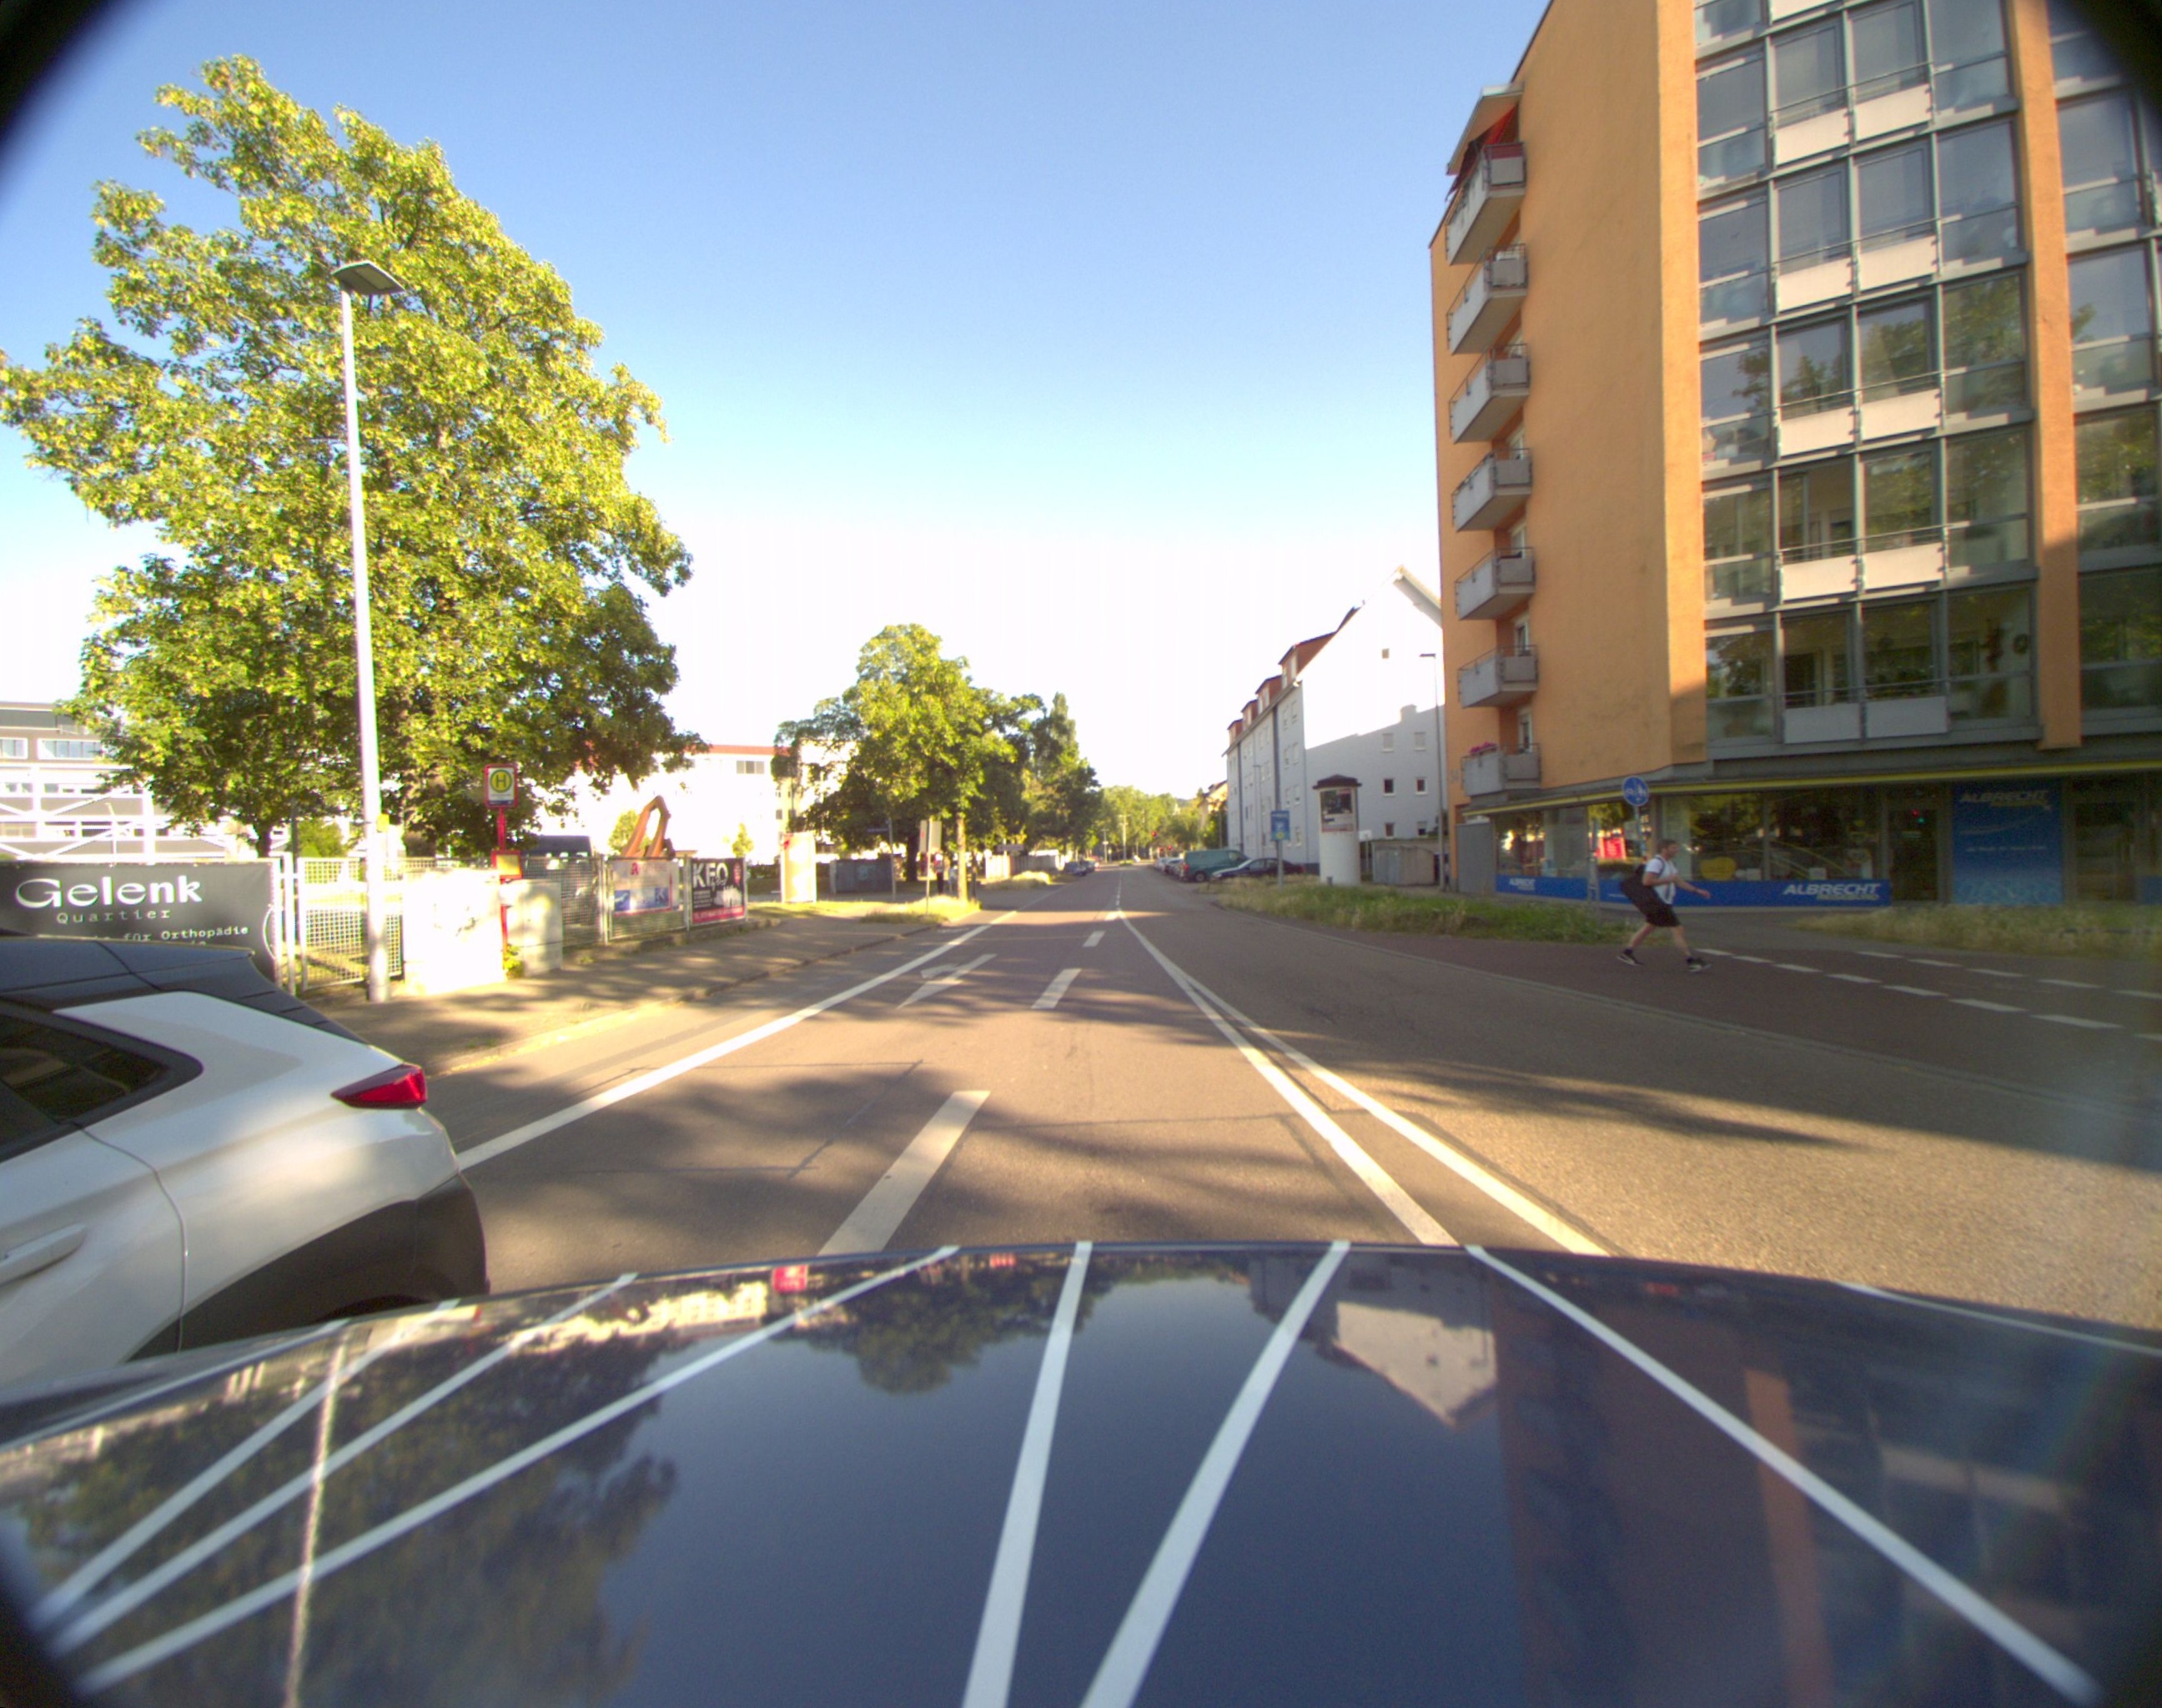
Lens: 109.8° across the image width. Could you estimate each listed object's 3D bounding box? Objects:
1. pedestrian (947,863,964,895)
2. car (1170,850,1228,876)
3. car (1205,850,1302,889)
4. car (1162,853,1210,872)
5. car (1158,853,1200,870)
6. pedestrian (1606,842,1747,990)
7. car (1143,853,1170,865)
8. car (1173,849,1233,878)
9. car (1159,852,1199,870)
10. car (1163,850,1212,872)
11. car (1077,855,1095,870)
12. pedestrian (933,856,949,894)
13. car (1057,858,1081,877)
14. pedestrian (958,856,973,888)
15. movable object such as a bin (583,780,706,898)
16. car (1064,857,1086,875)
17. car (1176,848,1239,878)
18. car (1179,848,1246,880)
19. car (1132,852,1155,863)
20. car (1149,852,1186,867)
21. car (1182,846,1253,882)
[{"bbox_3d":[-5.829,1.141,35.275,0.609,1.426,0.639,-2,1,1],"label":"pedestrian"},{"bbox_3d":[8.743,0.662,56.441,4.071,1.741,1.899,-2,1,5],"label":"car"},{"bbox_3d":[8.293,0.731,36.878,4.423,1.652,2.001,-2,1,9],"label":"car"},{"bbox_3d":[9.564,0.772,69.378,4.257,1.564,1.867,-2,1,5],"label":"car"},{"bbox_3d":[10.304,0.755,79.935,4.257,1.564,1.867,-2,1,5],"label":"car"},{"bbox_3d":[7.567,0.736,9.691,0.903,1.727,1.086,-3,1,-21],"label":"pedestrian"},{"bbox_3d":[10.464,0.702,105.246,3.538,1.564,1.867,-2,1,5],"label":"car"},{"bbox_3d":[8.567,0.667,53.698,4.059,1.805,1.937,-2,1,5],"label":"car"},{"bbox_3d":[10.256,0.724,80.071,4.071,1.741,1.899,-2,1,5],"label":"car"},{"bbox_3d":[9.270,0.607,66.492,4.117,1.762,1.757,-2,1,5],"label":"car"},{"bbox_3d":[0.565,0.949,87.981,1.998,1.521,3.999,-2,1,1],"label":"car"},{"bbox_3d":[-6.562,0.982,35.710,0.609,1.727,0.638,-2,1,-5],"label":"pedestrian"},{"bbox_3d":[-1.093,1.217,69.600,1.998,1.521,3.999,-2,1,1],"label":"car"},{"bbox_3d":[-6.145,0.966,40.413,0.696,1.659,0.638,-2,1,-11],"label":"pedestrian"},{"bbox_3d":[-22.234,-0.703,38.554,3.986,5.447,6.016,-3,1,-42],"label":"movable object such as a bin"},{"bbox_3d":[-0.591,1.149,73.948,1.998,1.521,3.999,-2,1,1],"label":"car"},{"bbox_3d":[8.496,0.587,51.347,3.995,1.805,2.000,-2,1,5],"label":"car"},{"bbox_3d":[8.352,0.623,48.591,3.995,1.805,2.000,-2,1,5],"label":"car"},{"bbox_3d":[9.700,0.587,118.227,3.538,1.564,1.867,-2,1,5],"label":"car"},{"bbox_3d":[10.220,0.644,90.194,4.257,1.564,1.867,-2,1,5],"label":"car"},{"bbox_3d":[8.189,0.593,45.943,3.996,1.936,2.000,-2,1,4],"label":"car"}]
